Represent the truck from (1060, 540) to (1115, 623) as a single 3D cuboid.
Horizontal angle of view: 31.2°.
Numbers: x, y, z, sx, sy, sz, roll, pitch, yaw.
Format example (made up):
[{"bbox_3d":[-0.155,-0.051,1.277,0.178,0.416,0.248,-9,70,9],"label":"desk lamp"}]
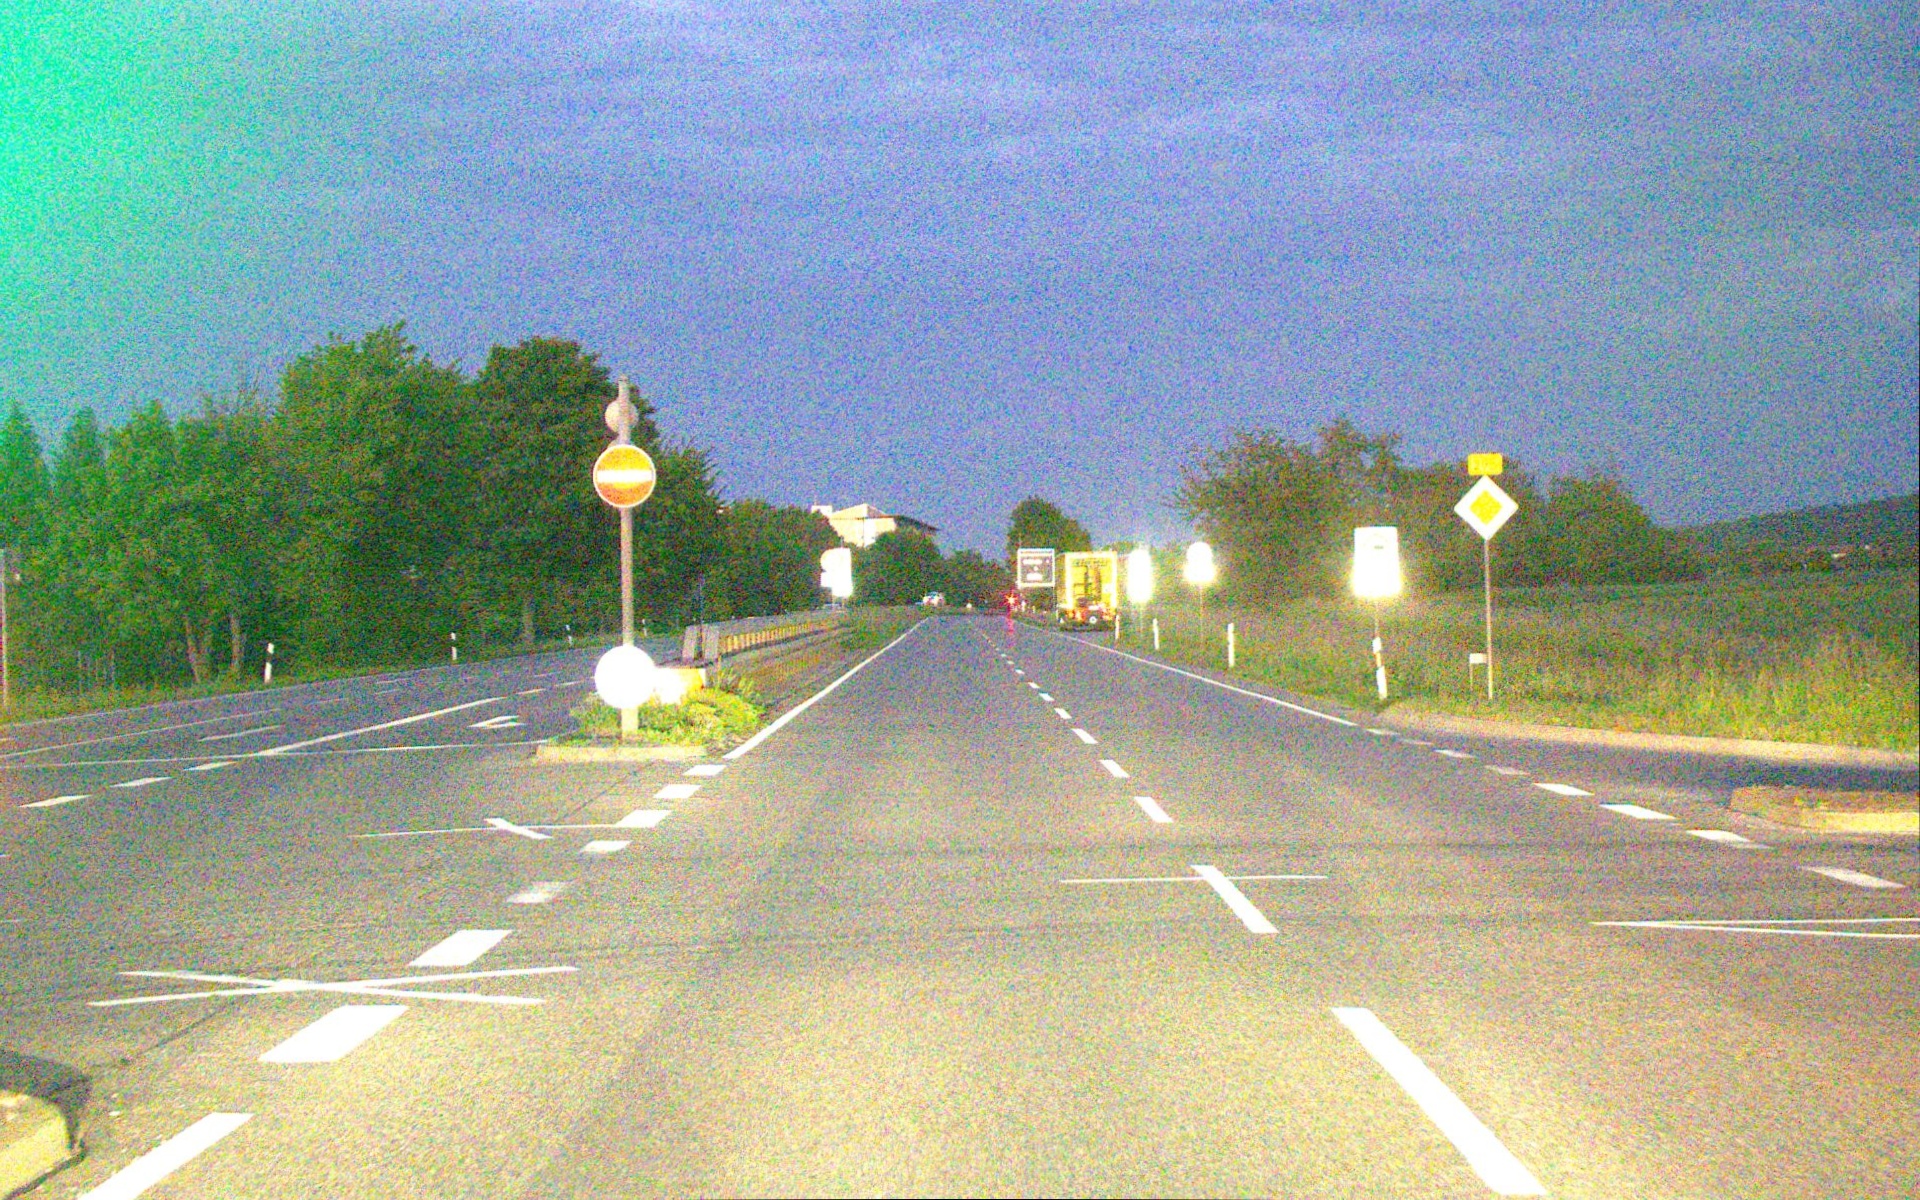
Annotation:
[{"bbox_3d":[6.373,-0.948,172.790,2.579,4.057,6.129,1,0,1],"label":"truck"}]
